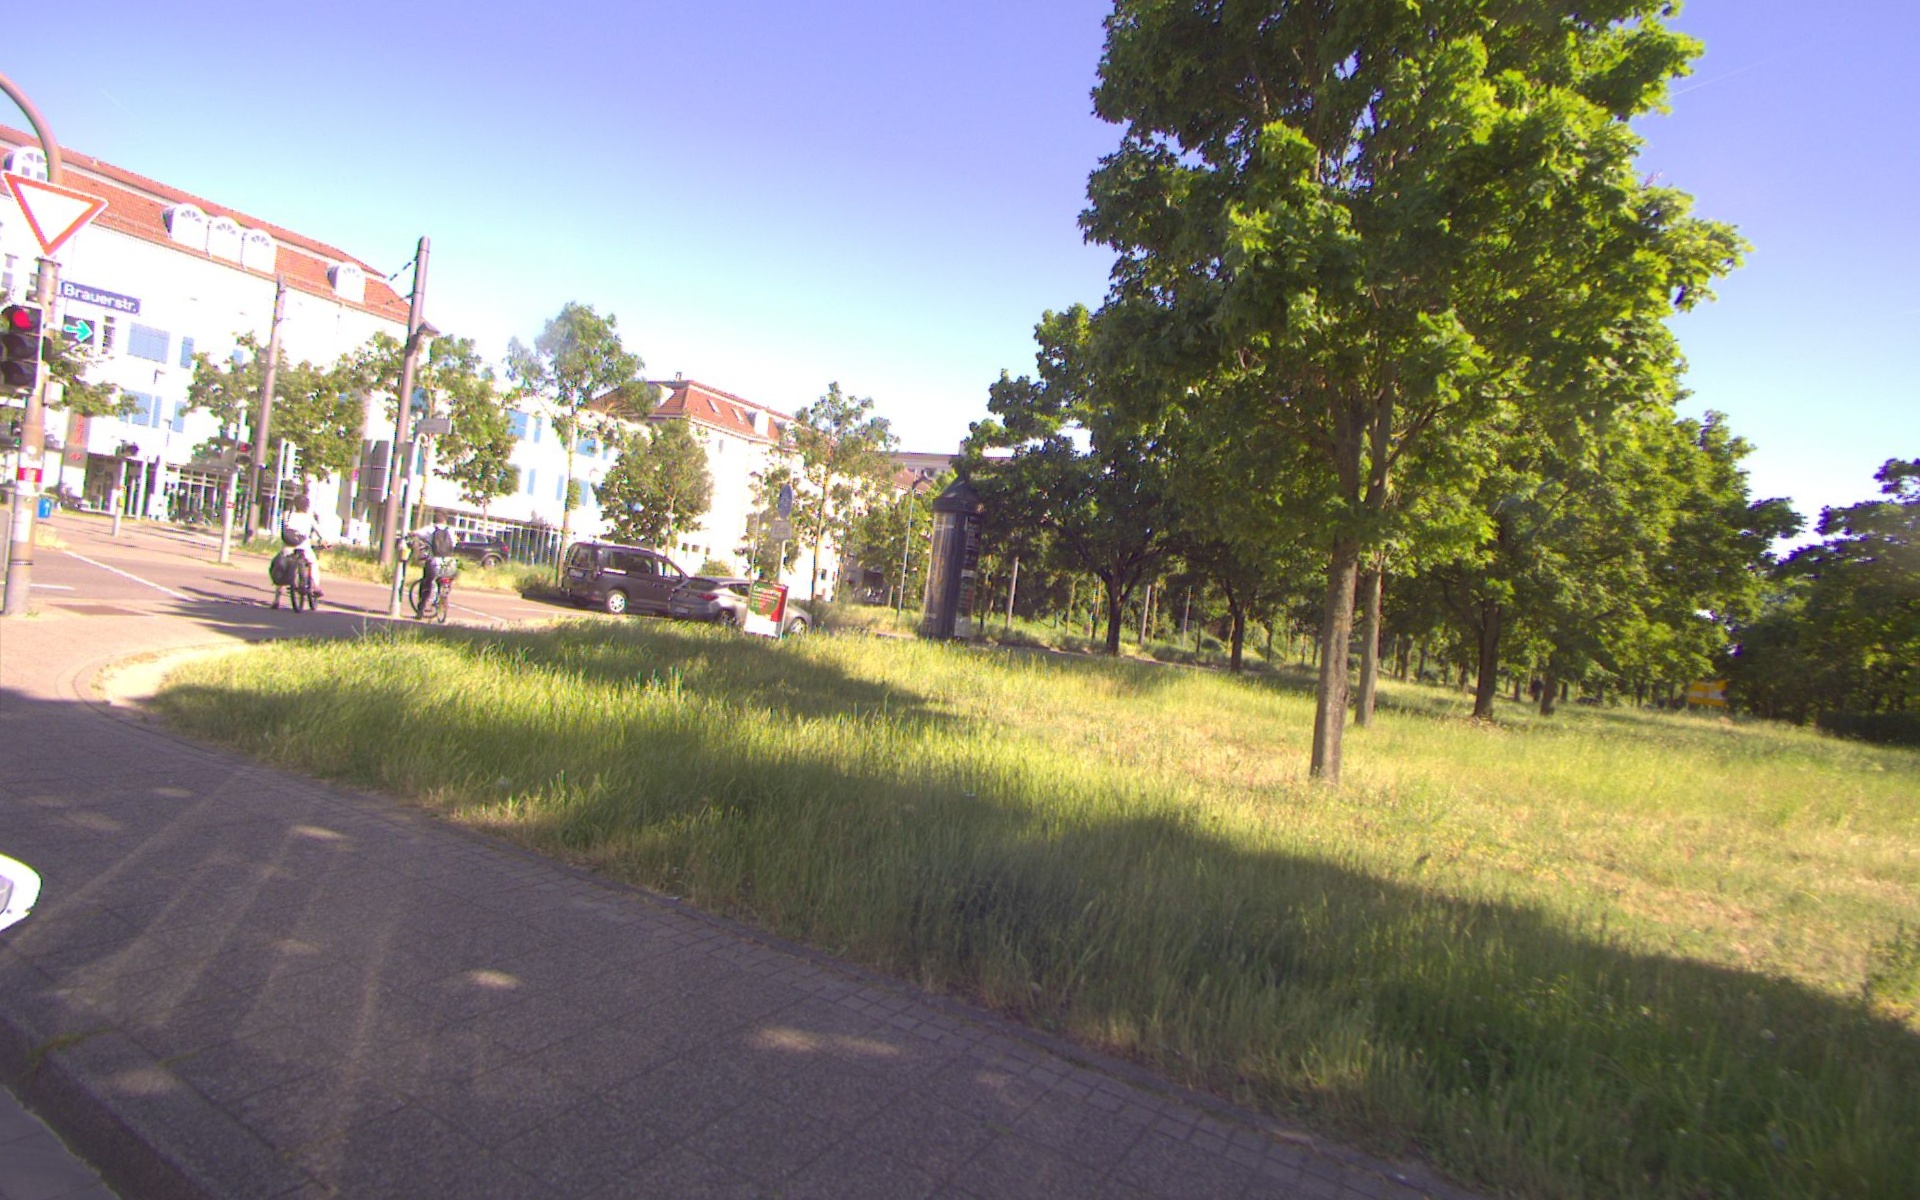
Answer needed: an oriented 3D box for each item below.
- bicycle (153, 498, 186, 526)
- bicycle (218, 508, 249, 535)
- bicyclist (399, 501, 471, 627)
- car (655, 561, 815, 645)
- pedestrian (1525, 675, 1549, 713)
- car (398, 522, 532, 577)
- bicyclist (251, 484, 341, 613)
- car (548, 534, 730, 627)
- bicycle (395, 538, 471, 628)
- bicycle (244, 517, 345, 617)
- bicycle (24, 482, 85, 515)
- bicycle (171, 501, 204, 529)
[{"bbox_3d":[-39.398,-4.397,50.143,1.837,1.197,0.561,8,1,29],"label":"bicycle"},{"bbox_3d":[-37.929,-4.111,52.489,1.839,1.197,0.561,8,1,32],"label":"bicycle"},{"bbox_3d":[-8.885,-0.602,17.071,0.782,1.983,1.006,7,1,-22],"label":"bicyclist"},{"bbox_3d":[-5.872,0.119,26.667,1.667,1.595,3.864,7,-3,36],"label":"car"},{"bbox_3d":[27.834,4.527,48.526,0.728,1.748,0.886,8,1,34],"label":"pedestrian"},{"bbox_3d":[-20.620,-2.075,42.060,1.971,1.629,4.497,7,0,39],"label":"car"},{"bbox_3d":[-10.288,-0.787,15.637,0.782,1.847,1.129,7,1,-22],"label":"bicyclist"},{"bbox_3d":[-8.871,-0.487,28.141,1.738,1.820,4.487,7,-3,37],"label":"car"},{"bbox_3d":[-8.991,-0.319,17.242,0.782,1.364,2.251,7,0,-21],"label":"bicycle"},{"bbox_3d":[-10.391,-0.522,15.784,0.782,1.364,2.068,7,0,-21],"label":"bicycle"},{"bbox_3d":[-40.837,-4.561,45.391,0.552,1.197,1.868,8,0,26],"label":"bicycle"},{"bbox_3d":[-39.212,-4.329,51.077,1.837,1.197,0.561,8,1,29],"label":"bicycle"}]
